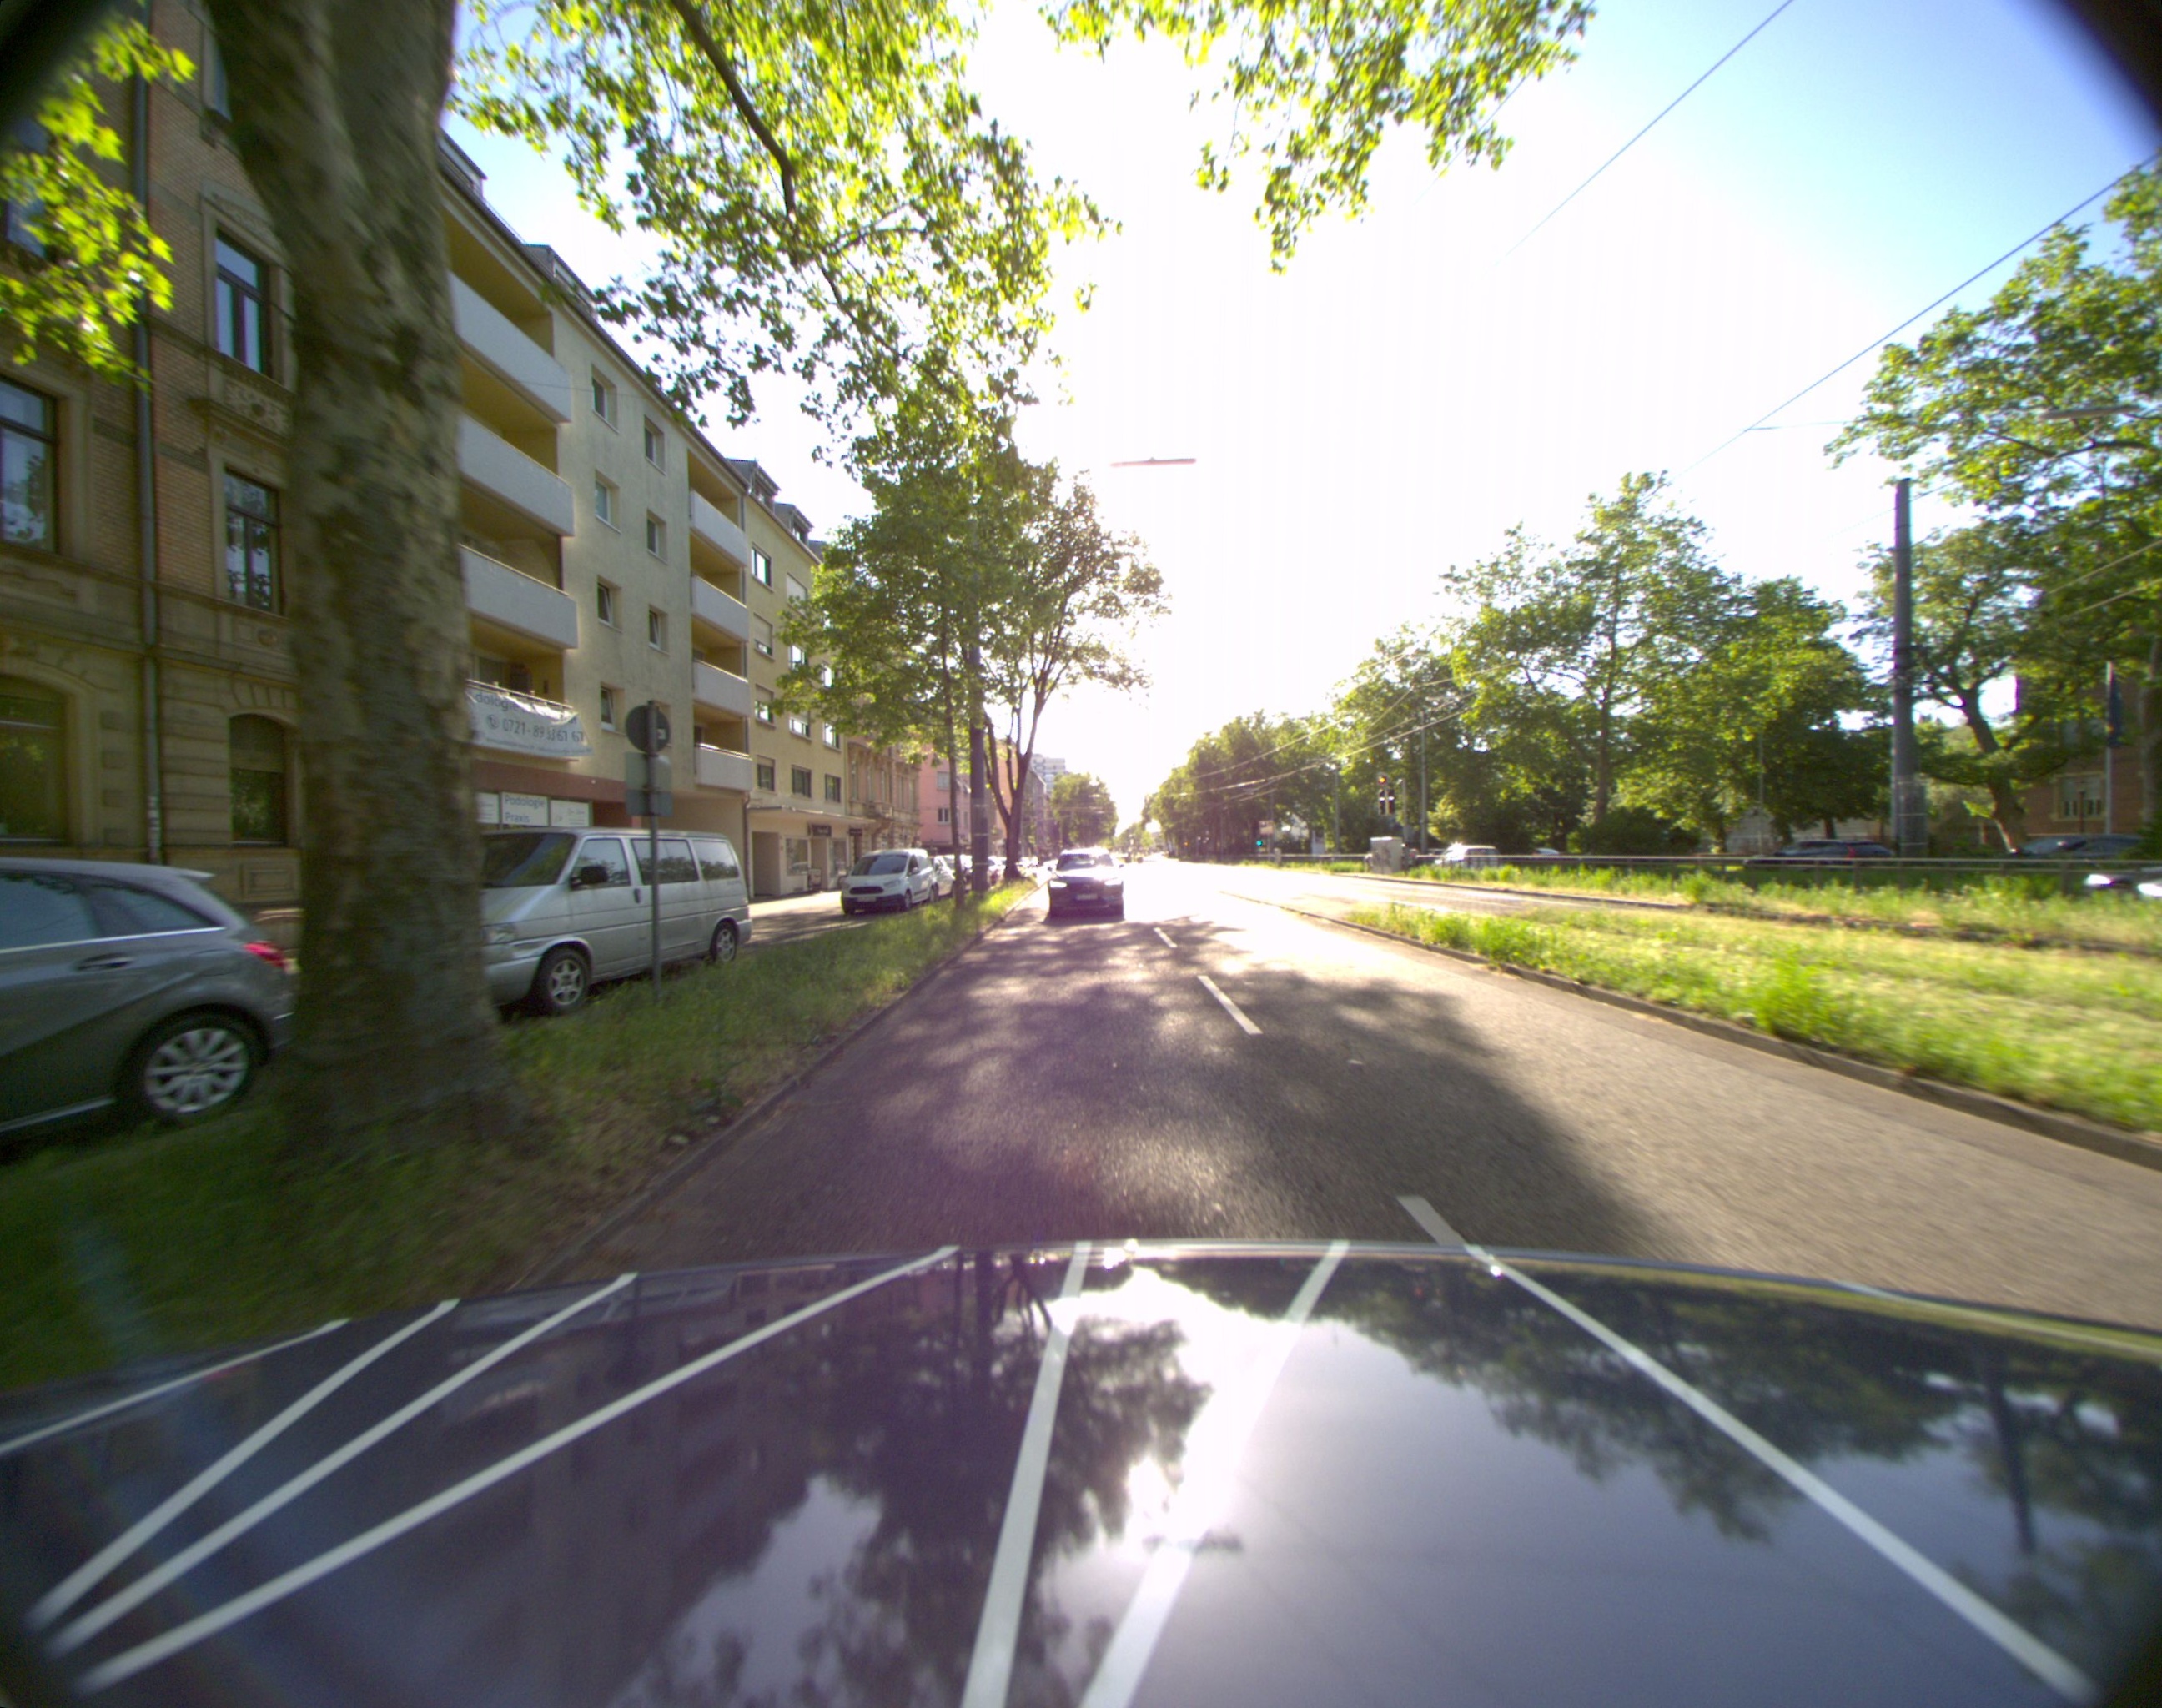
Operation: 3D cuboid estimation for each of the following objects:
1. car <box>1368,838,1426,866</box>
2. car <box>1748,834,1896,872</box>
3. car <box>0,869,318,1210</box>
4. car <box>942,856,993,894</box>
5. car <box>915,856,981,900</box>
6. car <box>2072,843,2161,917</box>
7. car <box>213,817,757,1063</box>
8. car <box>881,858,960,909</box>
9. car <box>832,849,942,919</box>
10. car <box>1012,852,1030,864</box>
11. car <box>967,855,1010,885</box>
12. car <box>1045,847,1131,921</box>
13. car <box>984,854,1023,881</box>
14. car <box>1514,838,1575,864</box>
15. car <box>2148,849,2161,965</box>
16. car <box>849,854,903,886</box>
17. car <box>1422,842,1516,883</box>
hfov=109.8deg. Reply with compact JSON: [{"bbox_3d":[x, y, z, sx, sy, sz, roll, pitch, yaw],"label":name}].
[{"bbox_3d":[20.470,-0.122,49.446,1.890,1.610,4.598,-3,0,1],"label":"car"},{"bbox_3d":[27.405,-0.057,28.293,1.598,1.216,4.024,-3,1,2],"label":"car"},{"bbox_3d":[-5.763,0.901,2.608,1.708,1.493,4.358,-3,0,2],"label":"car"},{"bbox_3d":[-4.933,0.863,33.346,1.630,1.468,3.697,-3,0,0],"label":"car"},{"bbox_3d":[-5.001,0.855,29.102,1.565,1.477,3.788,-3,0,4],"label":"car"},{"bbox_3d":[18.185,0.411,10.978,1.693,1.128,4.707,-3,0,3],"label":"car"},{"bbox_3d":[-5.644,0.669,8.268,1.869,1.805,4.800,-3,0,3],"label":"car"},{"bbox_3d":[-5.175,0.912,24.925,1.515,1.471,3.493,-3,0,5],"label":"car"},{"bbox_3d":[-5.229,0.738,21.020,1.629,1.658,4.142,-3,0,4],"label":"car"},{"bbox_3d":[-7.327,0.484,93.308,1.739,1.510,4.000,0,0,1],"label":"car"},{"bbox_3d":[-4.810,0.801,39.861,1.593,1.426,3.905,-3,0,2],"label":"car"},{"bbox_3d":[0.220,0.726,20.257,1.968,1.664,4.000,-3,0,1],"label":"car"},{"bbox_3d":[-4.535,0.743,44.769,1.700,1.413,4.169,-3,0,1],"label":"car"},{"bbox_3d":[28.253,-0.187,46.473,1.595,1.462,3.823,-3,0,5],"label":"car"},{"bbox_3d":[15.314,0.667,8.245,1.798,1.543,4.048,-3,0,2],"label":"car"},{"bbox_3d":[-10.440,0.783,38.901,1.697,1.472,3.999,-1,0,-1],"label":"car"},{"bbox_3d":[16.057,0.328,31.660,1.849,1.521,3.874,-3,0,0],"label":"car"}]
